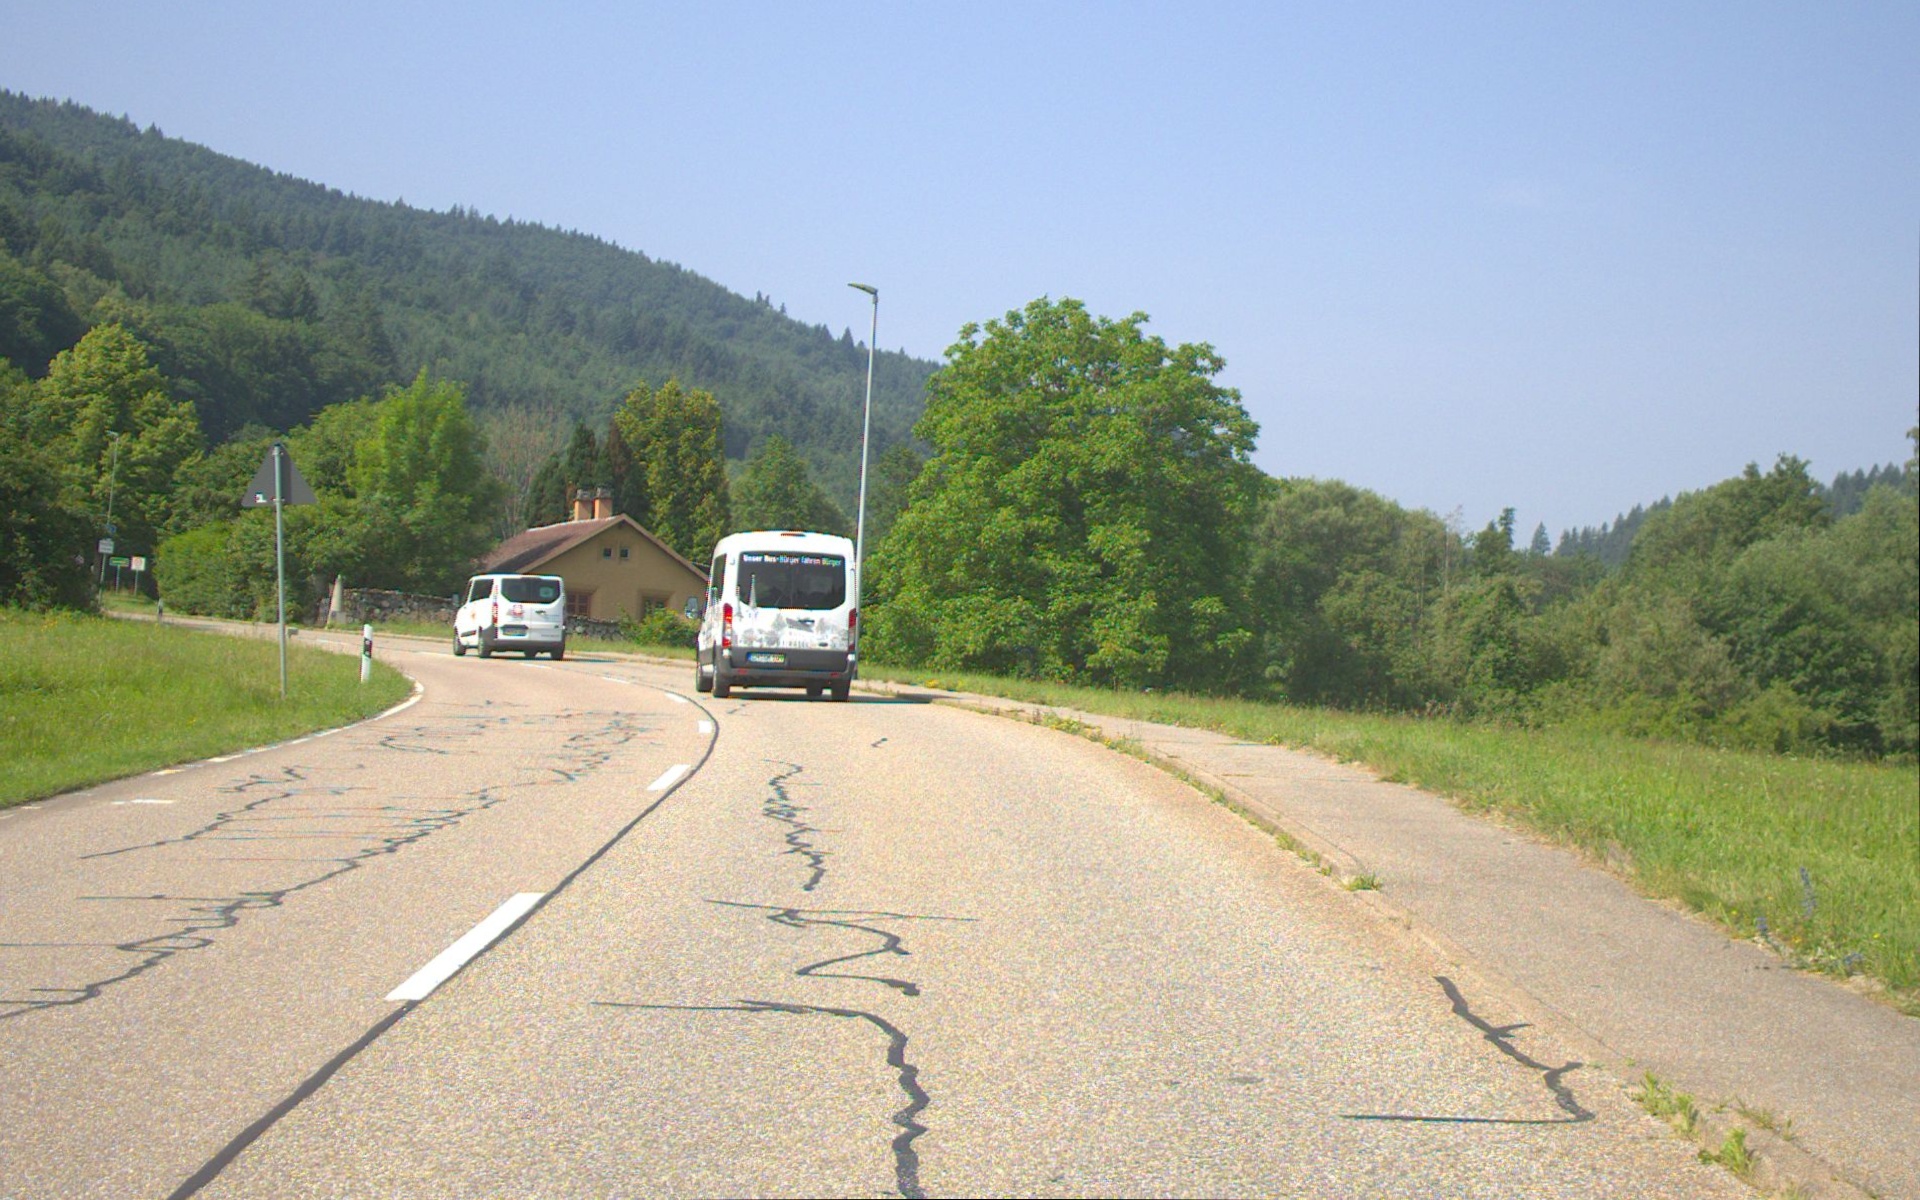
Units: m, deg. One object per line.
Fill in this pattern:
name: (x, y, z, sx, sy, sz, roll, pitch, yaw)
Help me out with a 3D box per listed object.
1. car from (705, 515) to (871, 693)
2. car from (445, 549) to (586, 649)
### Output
car: (-2.659, 0.059, 51.983, 2.222, 2.517, 4.985, -1, 0, -6)
car: (-10.640, -0.017, 82.056, 2.222, 2.279, 4.985, -1, 0, -21)
